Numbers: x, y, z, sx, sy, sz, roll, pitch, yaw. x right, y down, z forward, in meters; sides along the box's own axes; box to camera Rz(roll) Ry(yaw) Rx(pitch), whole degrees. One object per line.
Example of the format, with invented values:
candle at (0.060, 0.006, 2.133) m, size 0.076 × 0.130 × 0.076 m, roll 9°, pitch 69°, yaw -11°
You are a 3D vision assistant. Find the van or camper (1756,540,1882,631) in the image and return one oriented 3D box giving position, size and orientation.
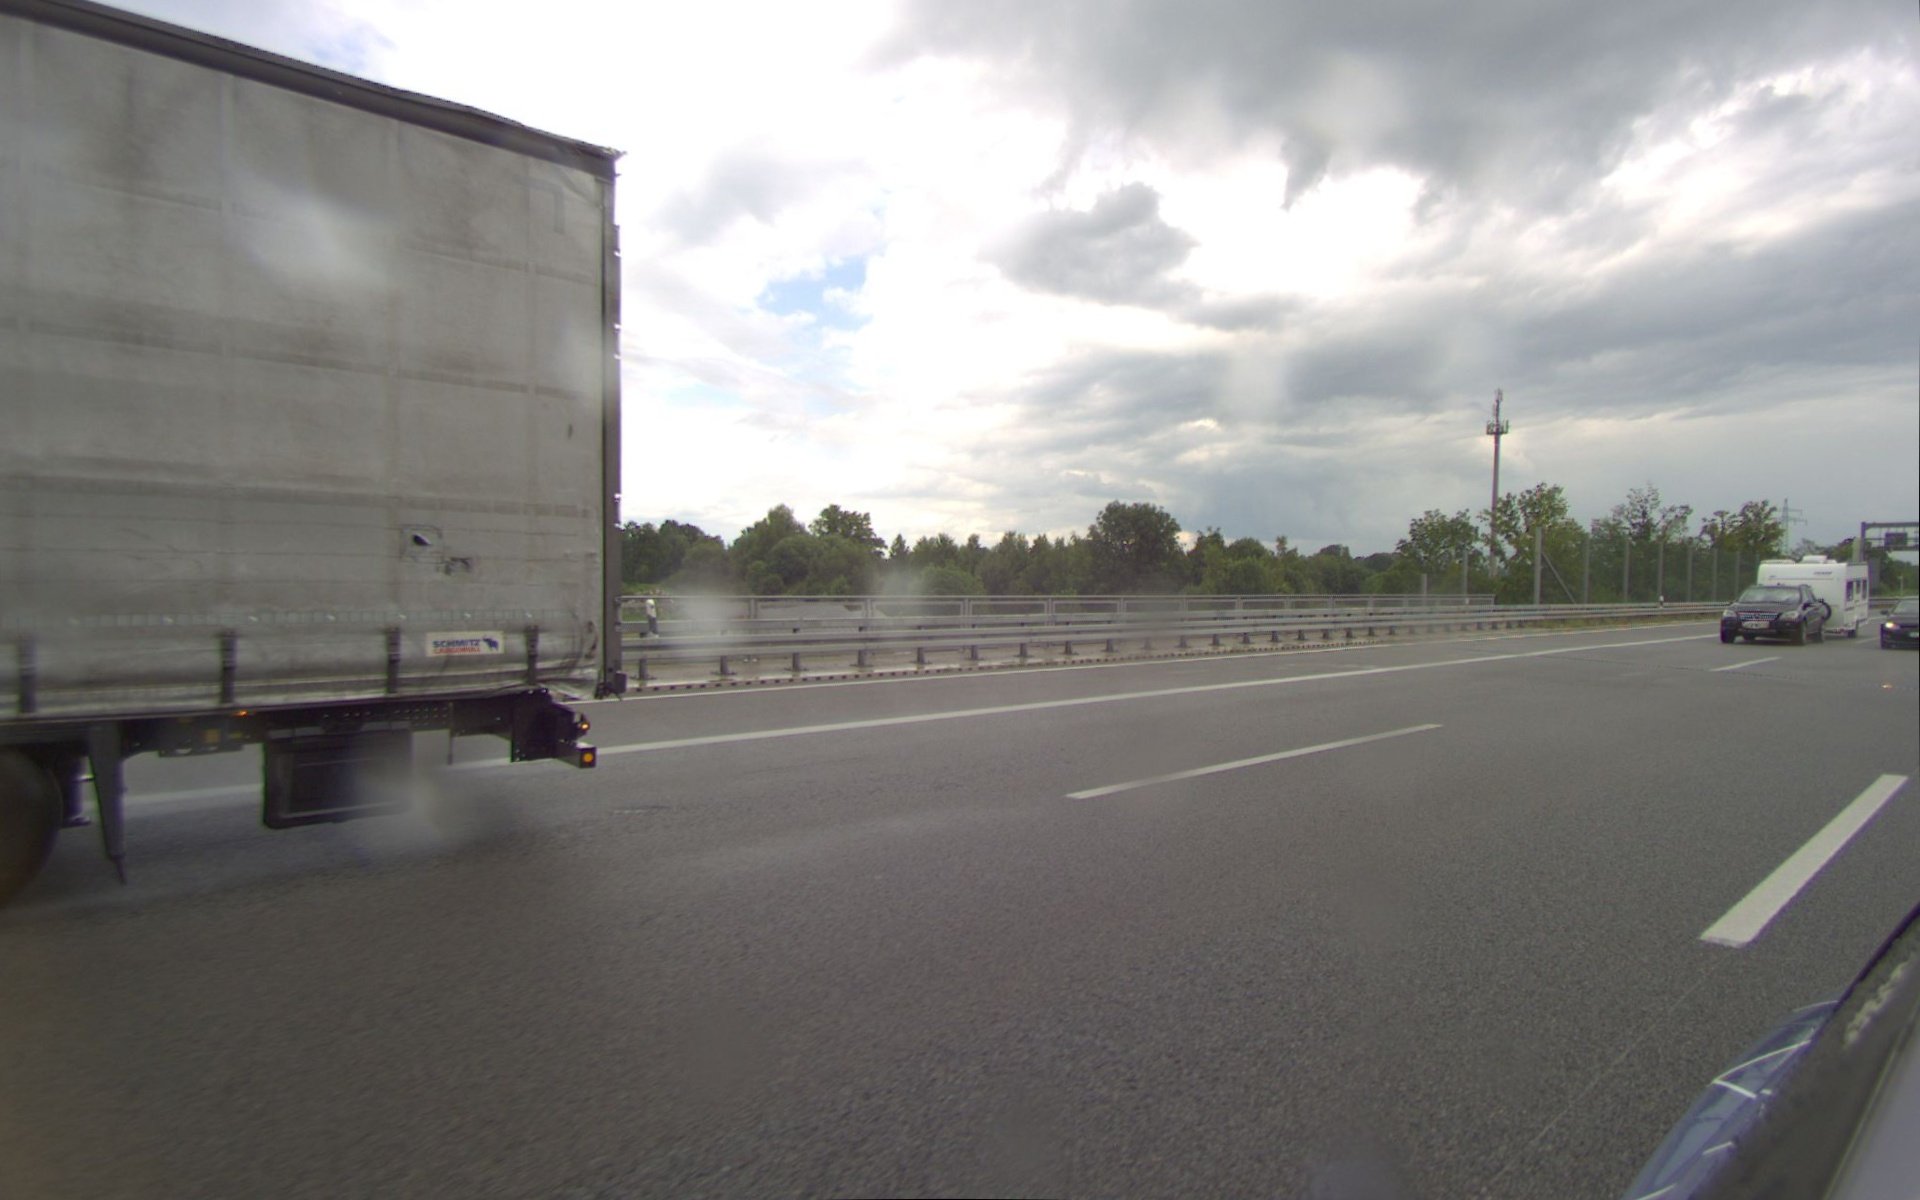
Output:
van or camper at (28.875, -0.453, 33.909) m, size 7.087 × 2.773 × 2.387 m, roll 0°, pitch 0°, yaw -43°

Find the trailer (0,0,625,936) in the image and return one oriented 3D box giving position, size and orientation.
trailer at (-8.124, -0.679, 2.426) m, size 13.873 × 4.071 × 2.966 m, roll 0°, pitch 0°, yaw -42°

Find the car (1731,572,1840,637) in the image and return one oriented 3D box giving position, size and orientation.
car at (24.563, 0.098, 30.049) m, size 4.426 × 1.798 × 1.922 m, roll 0°, pitch 0°, yaw -43°

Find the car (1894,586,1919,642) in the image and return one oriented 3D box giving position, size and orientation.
car at (26.741, 0.372, 27.487) m, size 3.932 × 1.464 × 1.715 m, roll 0°, pitch 1°, yaw -43°
